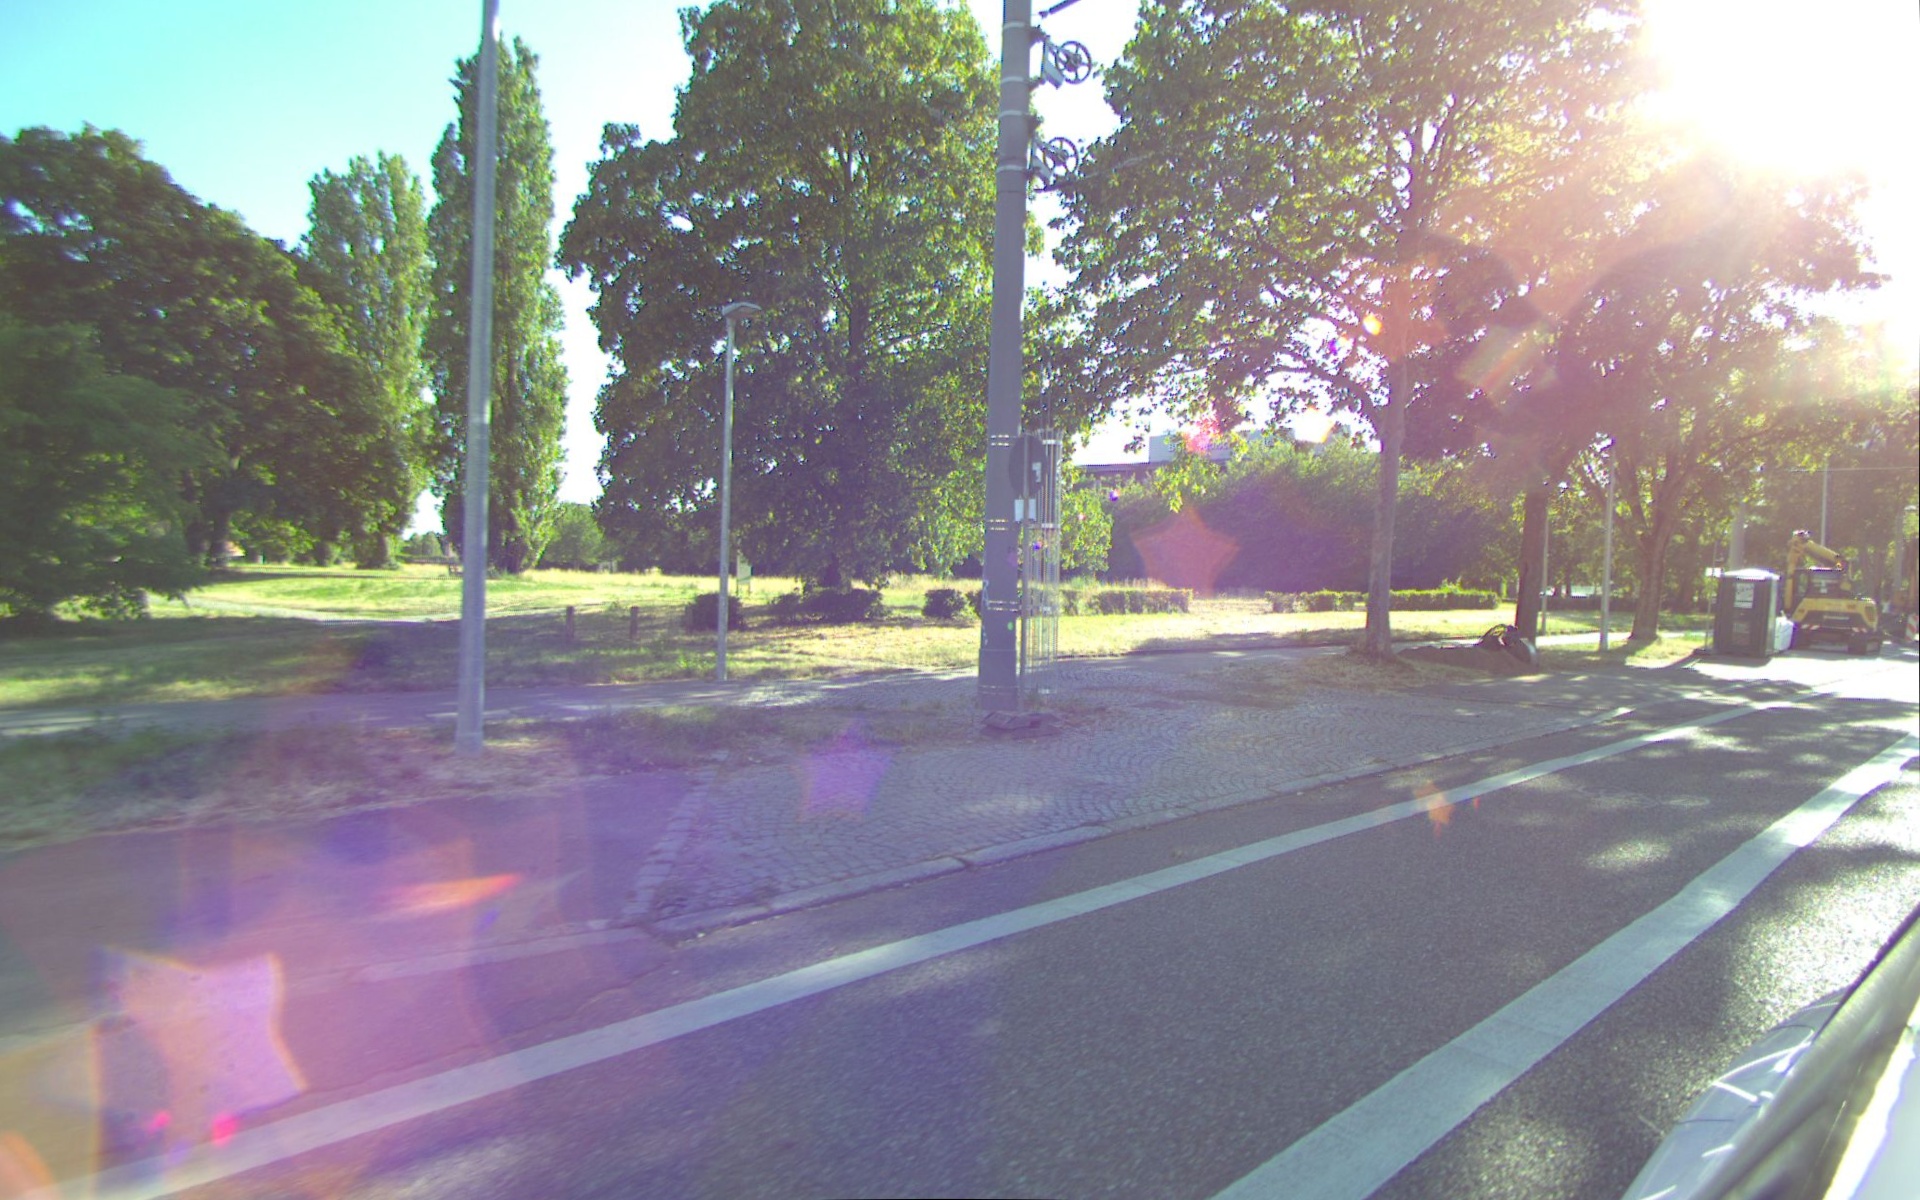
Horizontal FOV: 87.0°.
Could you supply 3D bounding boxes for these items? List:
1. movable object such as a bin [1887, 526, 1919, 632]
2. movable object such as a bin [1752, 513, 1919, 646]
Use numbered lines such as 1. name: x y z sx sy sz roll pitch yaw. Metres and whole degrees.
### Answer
1. movable object such as a bin: 45.663 -0.876 47.010 7.470 4.665 2.920 0 4 -43
2. movable object such as a bin: 30.297 -0.722 34.873 7.470 4.023 3.345 0 4 -43
